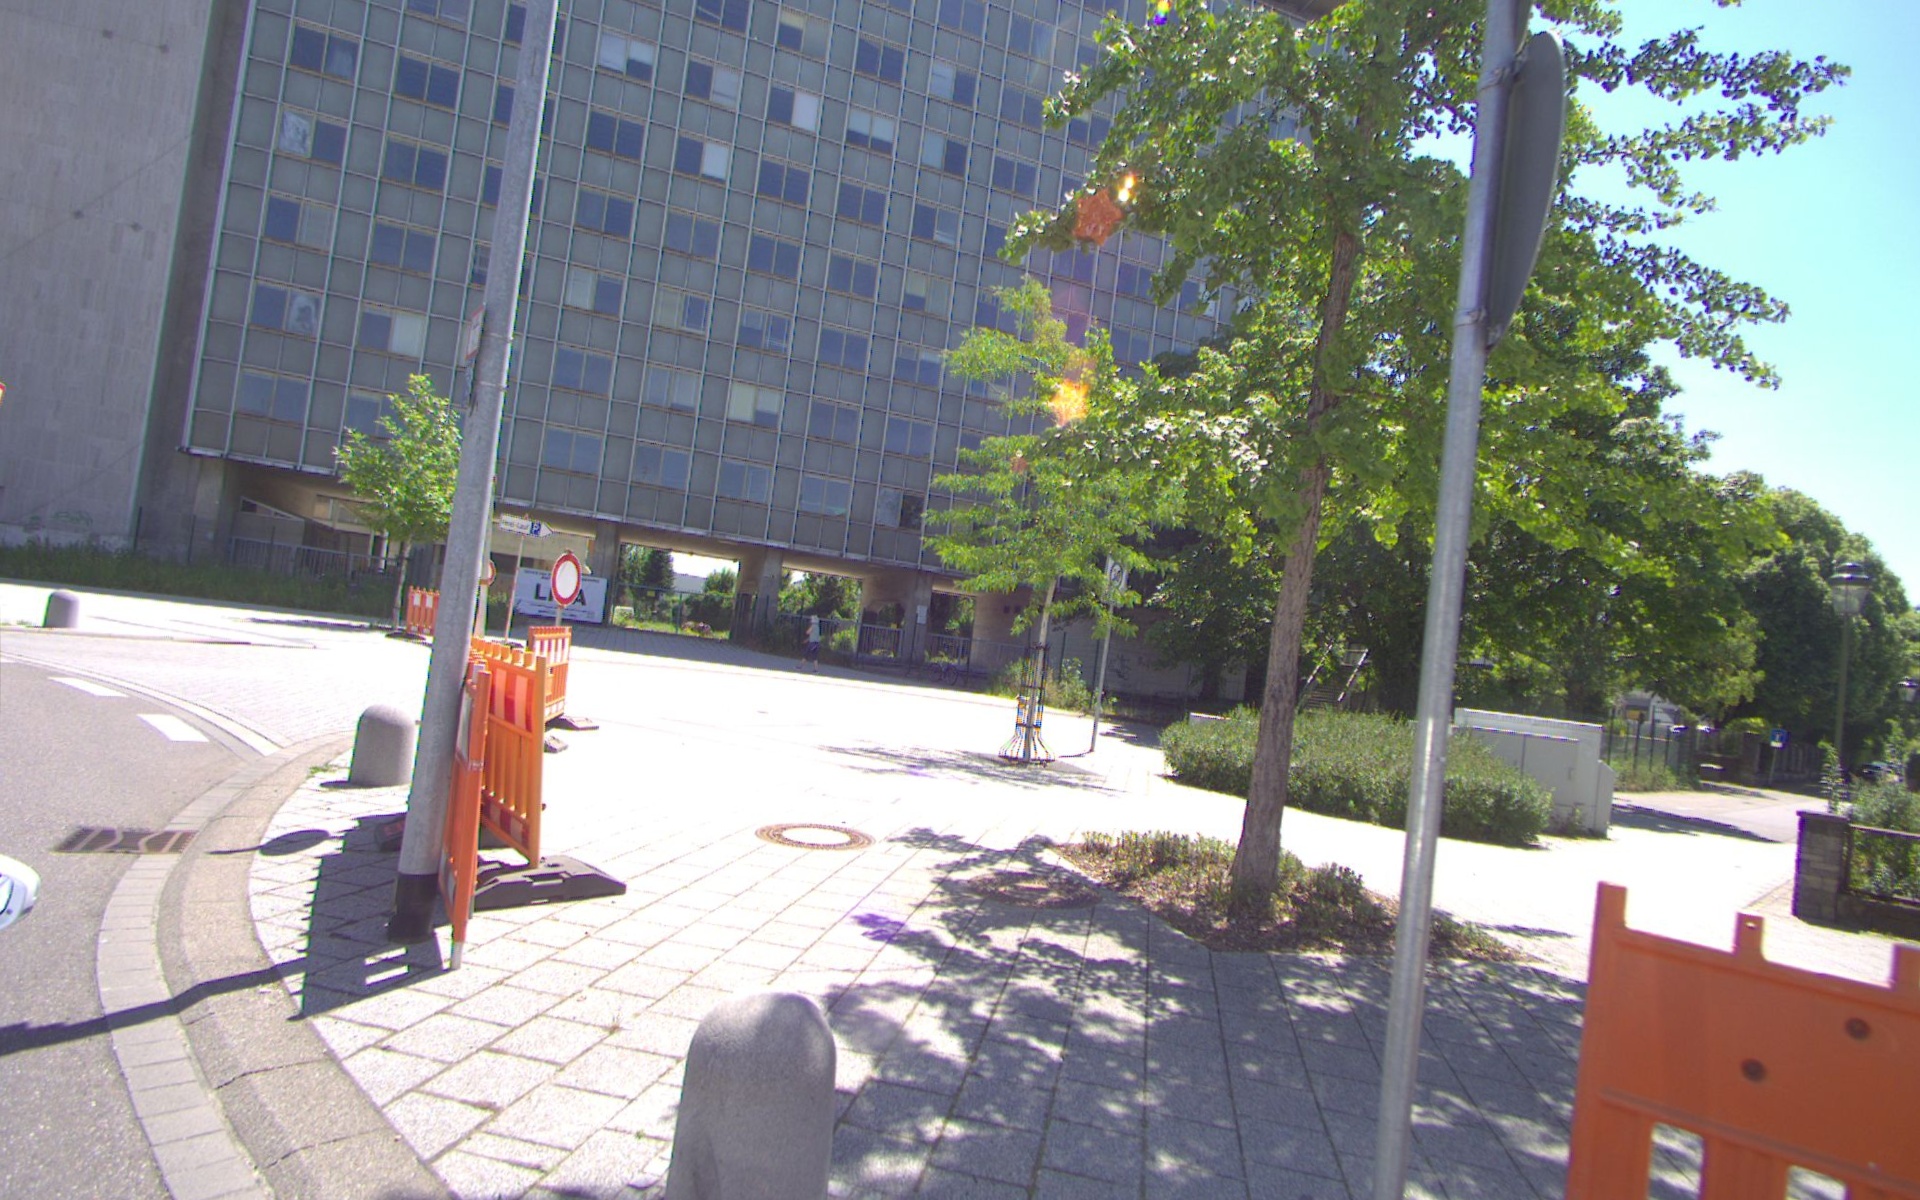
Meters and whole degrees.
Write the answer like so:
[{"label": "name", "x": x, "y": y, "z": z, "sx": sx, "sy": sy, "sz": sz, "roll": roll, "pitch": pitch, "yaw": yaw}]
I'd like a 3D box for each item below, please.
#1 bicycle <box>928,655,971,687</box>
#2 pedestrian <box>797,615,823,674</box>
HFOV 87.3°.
[{"label": "bicycle", "x": -0.373, "y": 2.440, "z": 34.679, "sx": 0.445, "sy": 0.917, "sz": 1.736, "roll": 8, "pitch": -3, "yaw": -38}, {"label": "pedestrian", "x": -4.552, "y": 1.342, "z": 30.511, "sx": 0.557, "sy": 1.729, "sz": 0.486, "roll": 7, "pitch": 1, "yaw": -12}]
